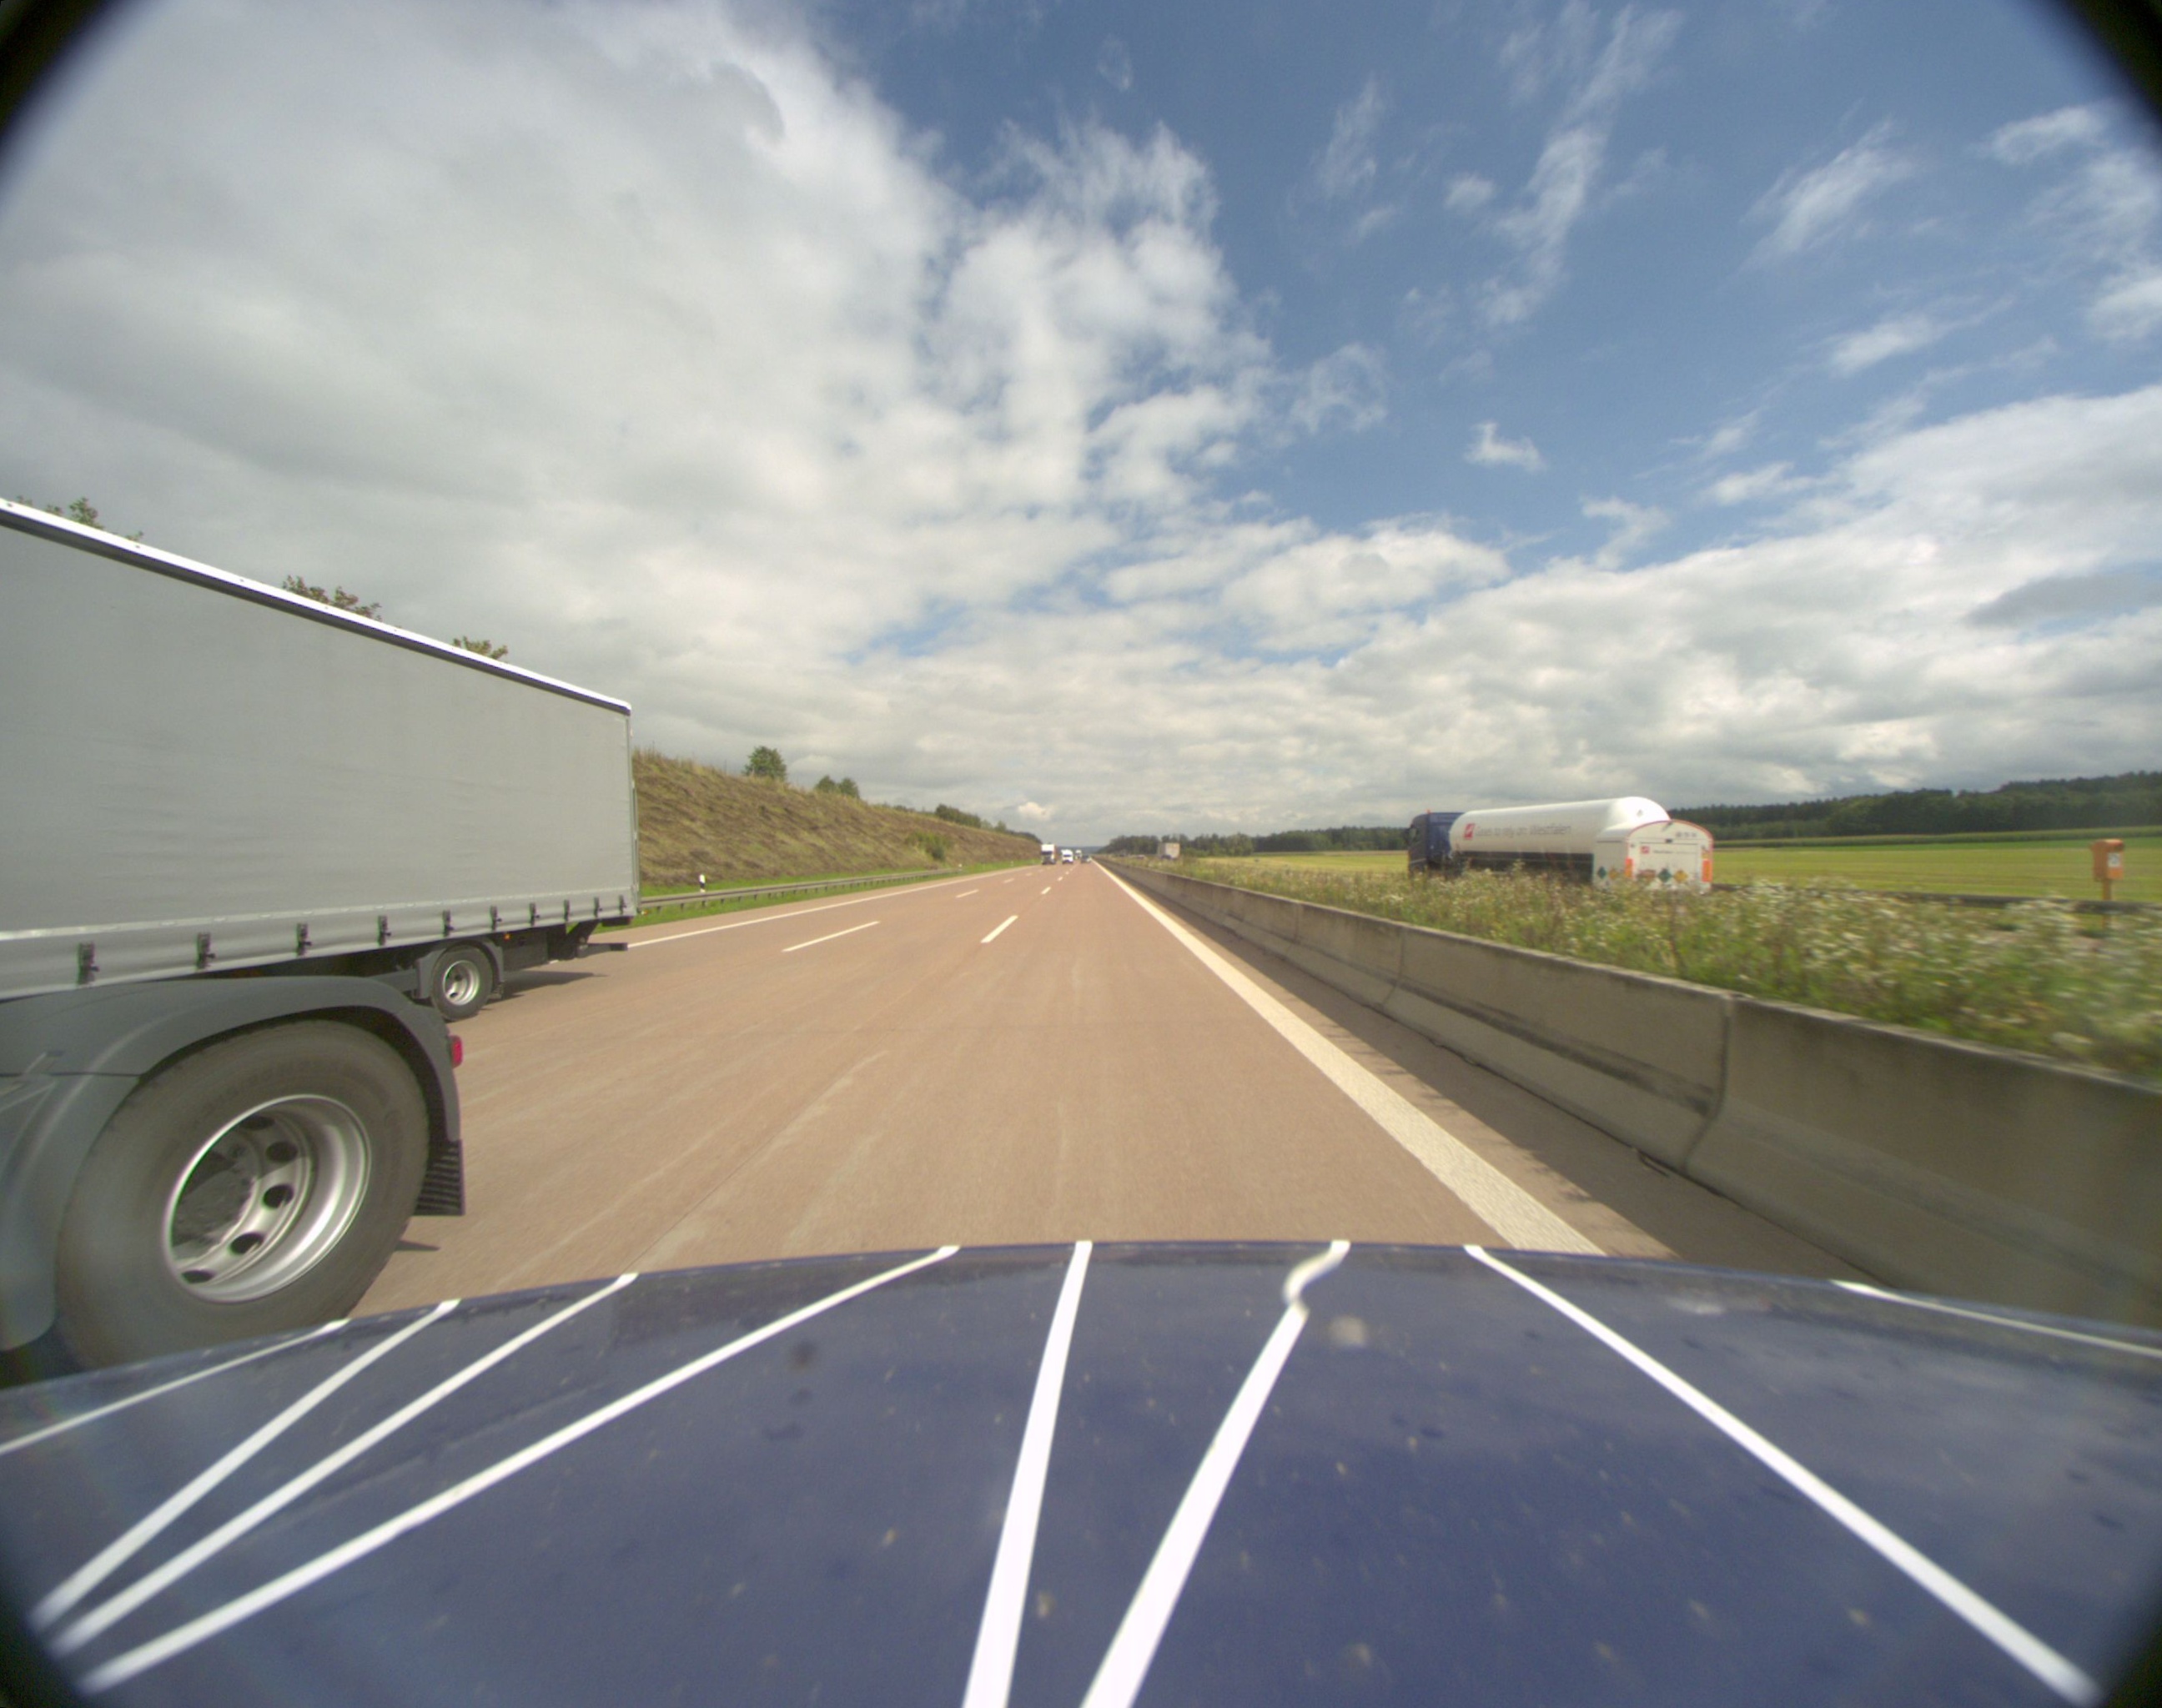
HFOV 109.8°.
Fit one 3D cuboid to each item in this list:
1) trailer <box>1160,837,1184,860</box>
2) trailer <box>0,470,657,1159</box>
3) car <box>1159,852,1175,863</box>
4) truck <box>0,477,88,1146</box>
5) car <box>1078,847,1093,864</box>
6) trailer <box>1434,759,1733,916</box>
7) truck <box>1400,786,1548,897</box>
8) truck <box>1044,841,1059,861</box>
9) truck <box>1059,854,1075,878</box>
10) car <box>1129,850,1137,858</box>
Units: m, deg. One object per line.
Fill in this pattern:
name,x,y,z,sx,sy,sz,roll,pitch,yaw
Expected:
trailer,17.450,-0.994,146.950,3.215,4.074,13.259,-3,0,1
trailer,-7.665,-0.221,6.862,2.755,3.989,8.668,-2,1,-1
car,12.819,0.481,113.411,1.998,1.689,4.255,0,0,0
truck,-7.576,-0.196,2.373,2.756,3.869,4.544,-2,1,-1
car,0.898,0.254,157.464,2.773,3.260,6.393,-3,0,1
trailer,15.750,-0.452,25.470,2.898,4.075,11.037,1,0,1
truck,15.908,-0.470,31.390,2.898,4.075,6.335,1,0,1
truck,-5.978,-0.623,156.249,2.681,4.082,6.616,-2,0,1
truck,-2.683,2.287,151.489,2.681,4.333,11.808,-3,0,0
car,13.138,0.009,192.402,1.777,1.738,4.471,-3,0,0
